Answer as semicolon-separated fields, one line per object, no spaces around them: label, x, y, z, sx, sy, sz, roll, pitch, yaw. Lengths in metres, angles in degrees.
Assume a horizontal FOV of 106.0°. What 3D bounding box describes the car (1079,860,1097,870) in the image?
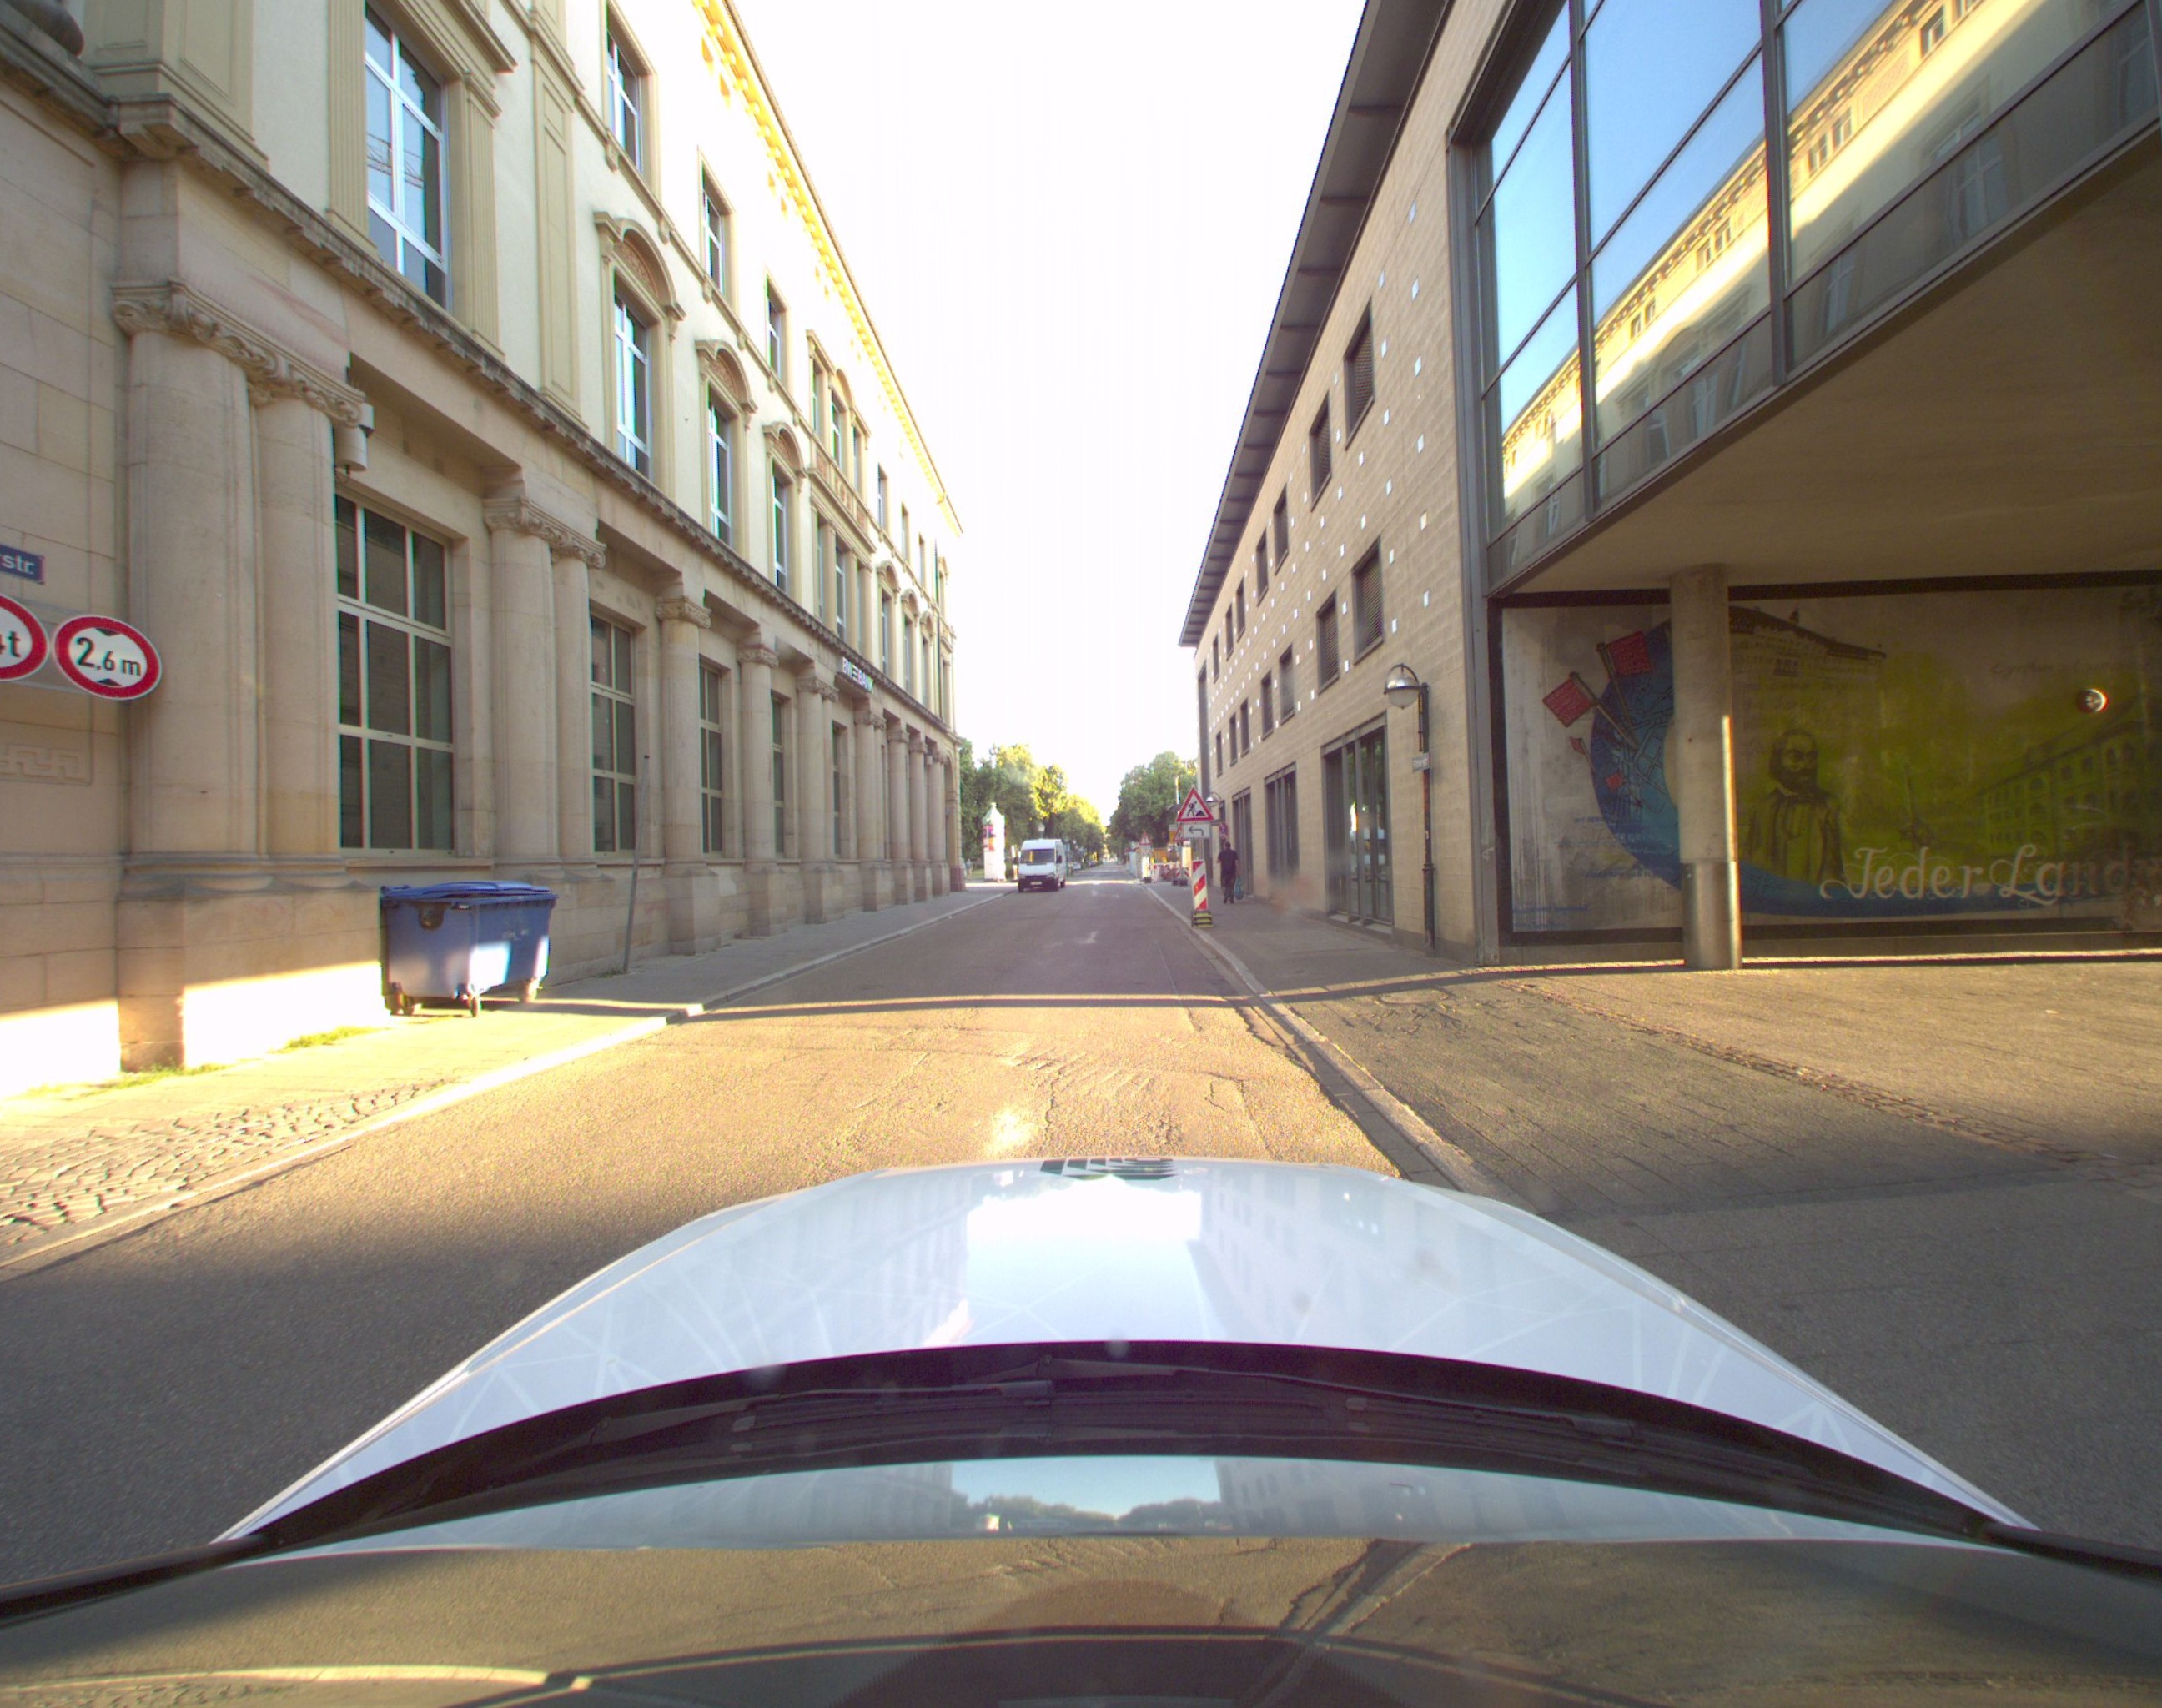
car;1.486;2.324;170.079;3.539;1.783;1.795;-3;-1;11

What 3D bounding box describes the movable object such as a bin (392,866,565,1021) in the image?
movable object such as a bin;-6.393;0.899;8.727;0.825;1.503;1.292;-1;0;3

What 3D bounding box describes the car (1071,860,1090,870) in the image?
car;-0.067;2.112;161.226;3.539;1.783;1.795;-3;-1;11

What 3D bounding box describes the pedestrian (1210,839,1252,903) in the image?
pedestrian;4.375;0.498;23.807;0.997;1.803;0.882;-3;-1;1

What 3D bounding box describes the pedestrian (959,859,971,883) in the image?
pedestrian;-8.941;1.320;62.862;0.850;1.807;0.661;-1;-1;-11

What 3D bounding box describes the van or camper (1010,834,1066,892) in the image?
van or camper;-2.035;0.413;40.500;2.211;2.585;6.373;-2;0;1

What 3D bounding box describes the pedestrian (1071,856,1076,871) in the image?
pedestrian;-1.052;1.312;114.457;0.609;2.014;0.902;-1;-1;-6

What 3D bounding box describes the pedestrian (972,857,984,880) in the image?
pedestrian;-7.941;1.117;62.947;0.850;1.807;0.661;-1;-1;-11
